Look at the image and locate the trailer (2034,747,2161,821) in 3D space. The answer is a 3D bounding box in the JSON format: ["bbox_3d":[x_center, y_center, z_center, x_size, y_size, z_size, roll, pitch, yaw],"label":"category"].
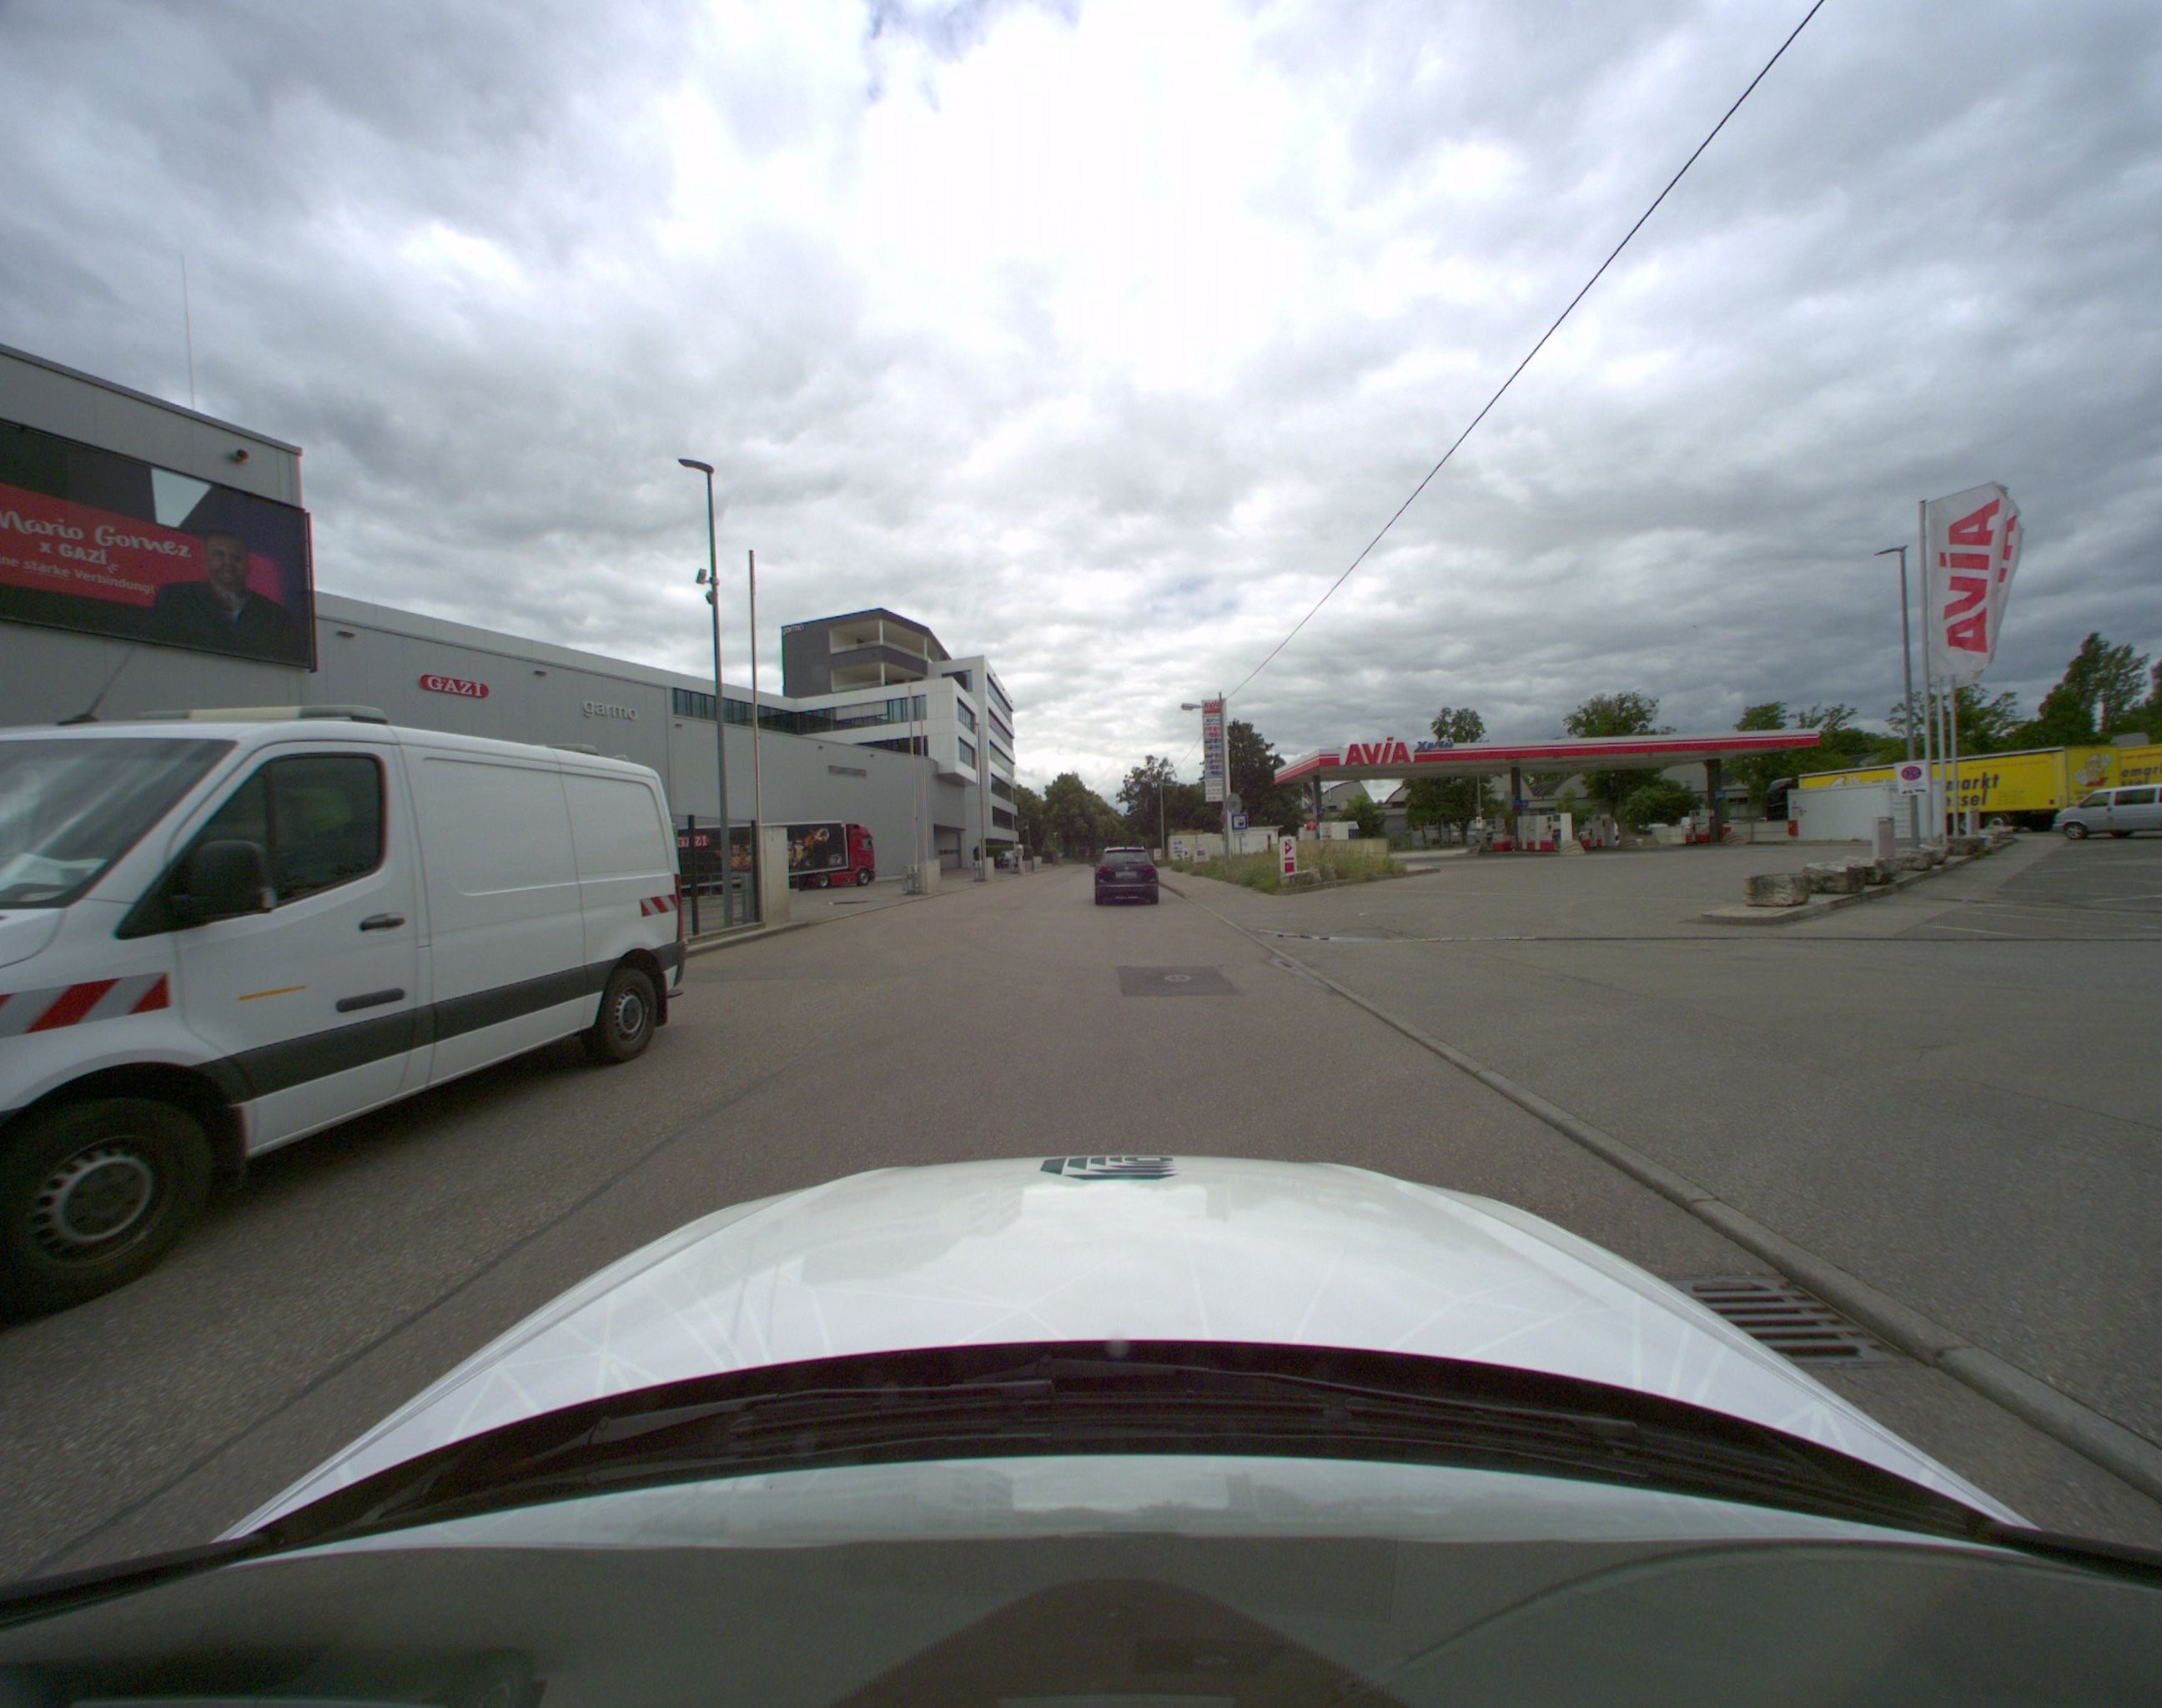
[{"bbox_3d":[62.391,-4.155,43.146,2.681,3.915,18.074,-3,0,1],"label":"trailer"}]

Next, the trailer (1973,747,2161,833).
[{"bbox_3d":[58.643,-3.574,44.289,3.009,4.260,15.727,-3,0,1],"label":"trailer"}]

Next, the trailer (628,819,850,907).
[{"bbox_3d":[-17.690,0.328,43.846,2.718,4.031,12.686,-2,0,22],"label":"trailer"}]

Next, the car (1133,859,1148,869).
[{"bbox_3d":[11.195,1.798,153.132,1.978,1.786,4.017,-2,0,16],"label":"car"}]

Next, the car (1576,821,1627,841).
[{"bbox_3d":[50.459,-2.224,79.032,1.955,1.645,4.654,-3,0,1],"label":"car"}]

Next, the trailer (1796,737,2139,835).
[{"bbox_3d":[46.380,-3.243,44.005,2.989,3.915,14.304,-3,0,1],"label":"trailer"}]

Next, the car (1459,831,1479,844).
[{"bbox_3d":[49.118,-2.108,103.088,1.888,1.521,4.085,-4,0,21],"label":"car"}]

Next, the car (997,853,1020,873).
[{"bbox_3d":[-6.587,0.776,74.160,1.643,1.762,3.182,-1,0,3],"label":"car"}]

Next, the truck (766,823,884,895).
[{"bbox_3d":[-15.355,0.244,49.490,2.718,4.031,7.131,-2,0,22],"label":"truck"}]

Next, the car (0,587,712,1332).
[{"bbox_3d":[-4.438,0.351,4.733,1.986,2.416,5.258,-2,0,2],"label":"car"}]

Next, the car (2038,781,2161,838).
[{"bbox_3d":[38.315,-1.629,29.298,1.976,1.912,4.952,-3,0,1],"label":"car"}]

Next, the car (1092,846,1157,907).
[{"bbox_3d":[1.322,0.627,24.067,1.731,1.618,3.645,-1,0,4],"label":"car"}]

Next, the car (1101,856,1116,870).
[{"bbox_3d":[3.498,1.116,104.266,1.832,1.616,4.002,-2,0,2],"label":"car"}]

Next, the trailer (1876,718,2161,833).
[{"bbox_3d":[50.219,-3.787,42.715,2.989,4.723,14.304,-3,0,1],"label":"trailer"}]

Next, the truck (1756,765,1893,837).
[{"bbox_3d":[46.499,-3.210,51.228,2.946,3.915,6.042,-3,0,1],"label":"truck"}]
